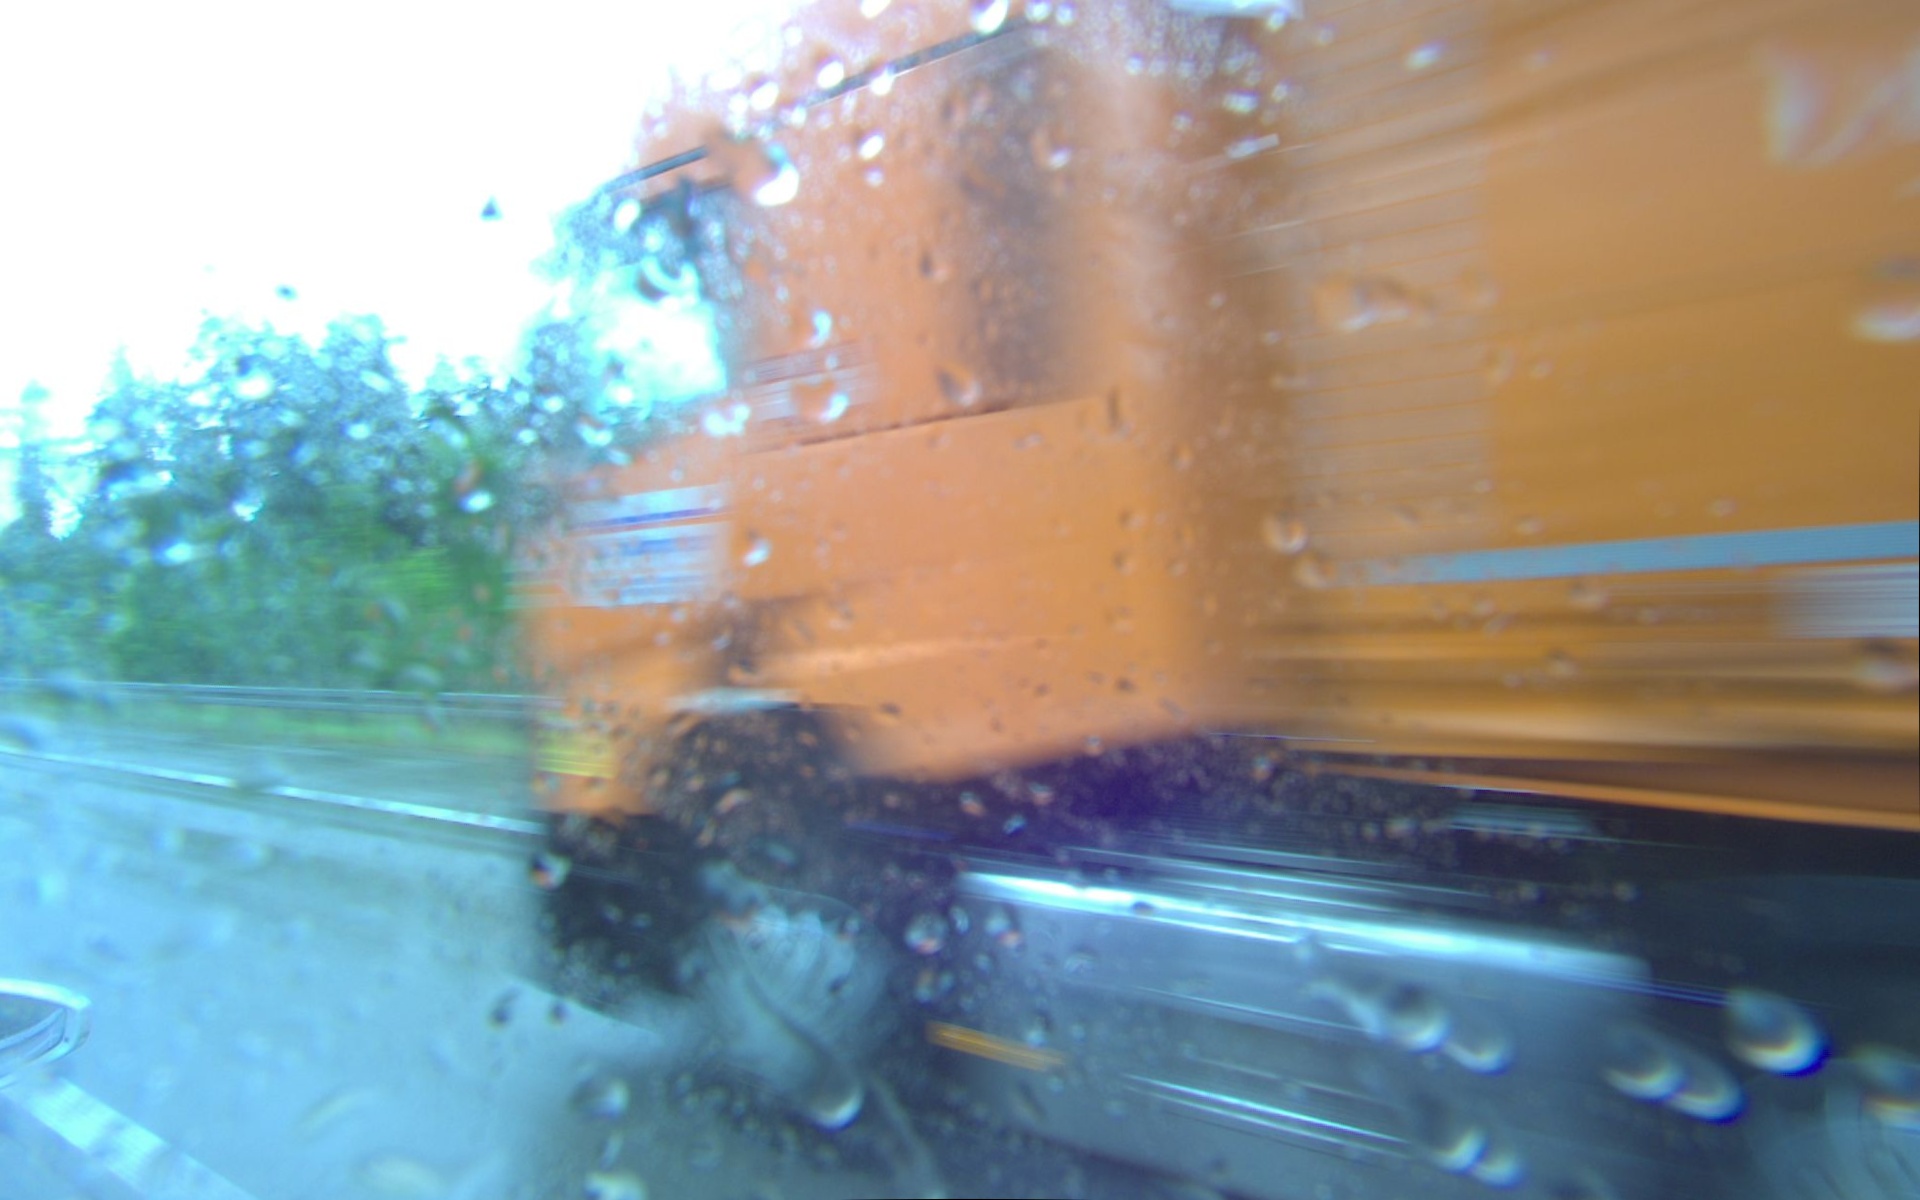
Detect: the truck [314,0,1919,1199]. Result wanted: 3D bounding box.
[{"bbox_3d":[0.638,-0.535,3.420,5.360,4.142,2.753,-1,0,32],"label":"truck"}]
